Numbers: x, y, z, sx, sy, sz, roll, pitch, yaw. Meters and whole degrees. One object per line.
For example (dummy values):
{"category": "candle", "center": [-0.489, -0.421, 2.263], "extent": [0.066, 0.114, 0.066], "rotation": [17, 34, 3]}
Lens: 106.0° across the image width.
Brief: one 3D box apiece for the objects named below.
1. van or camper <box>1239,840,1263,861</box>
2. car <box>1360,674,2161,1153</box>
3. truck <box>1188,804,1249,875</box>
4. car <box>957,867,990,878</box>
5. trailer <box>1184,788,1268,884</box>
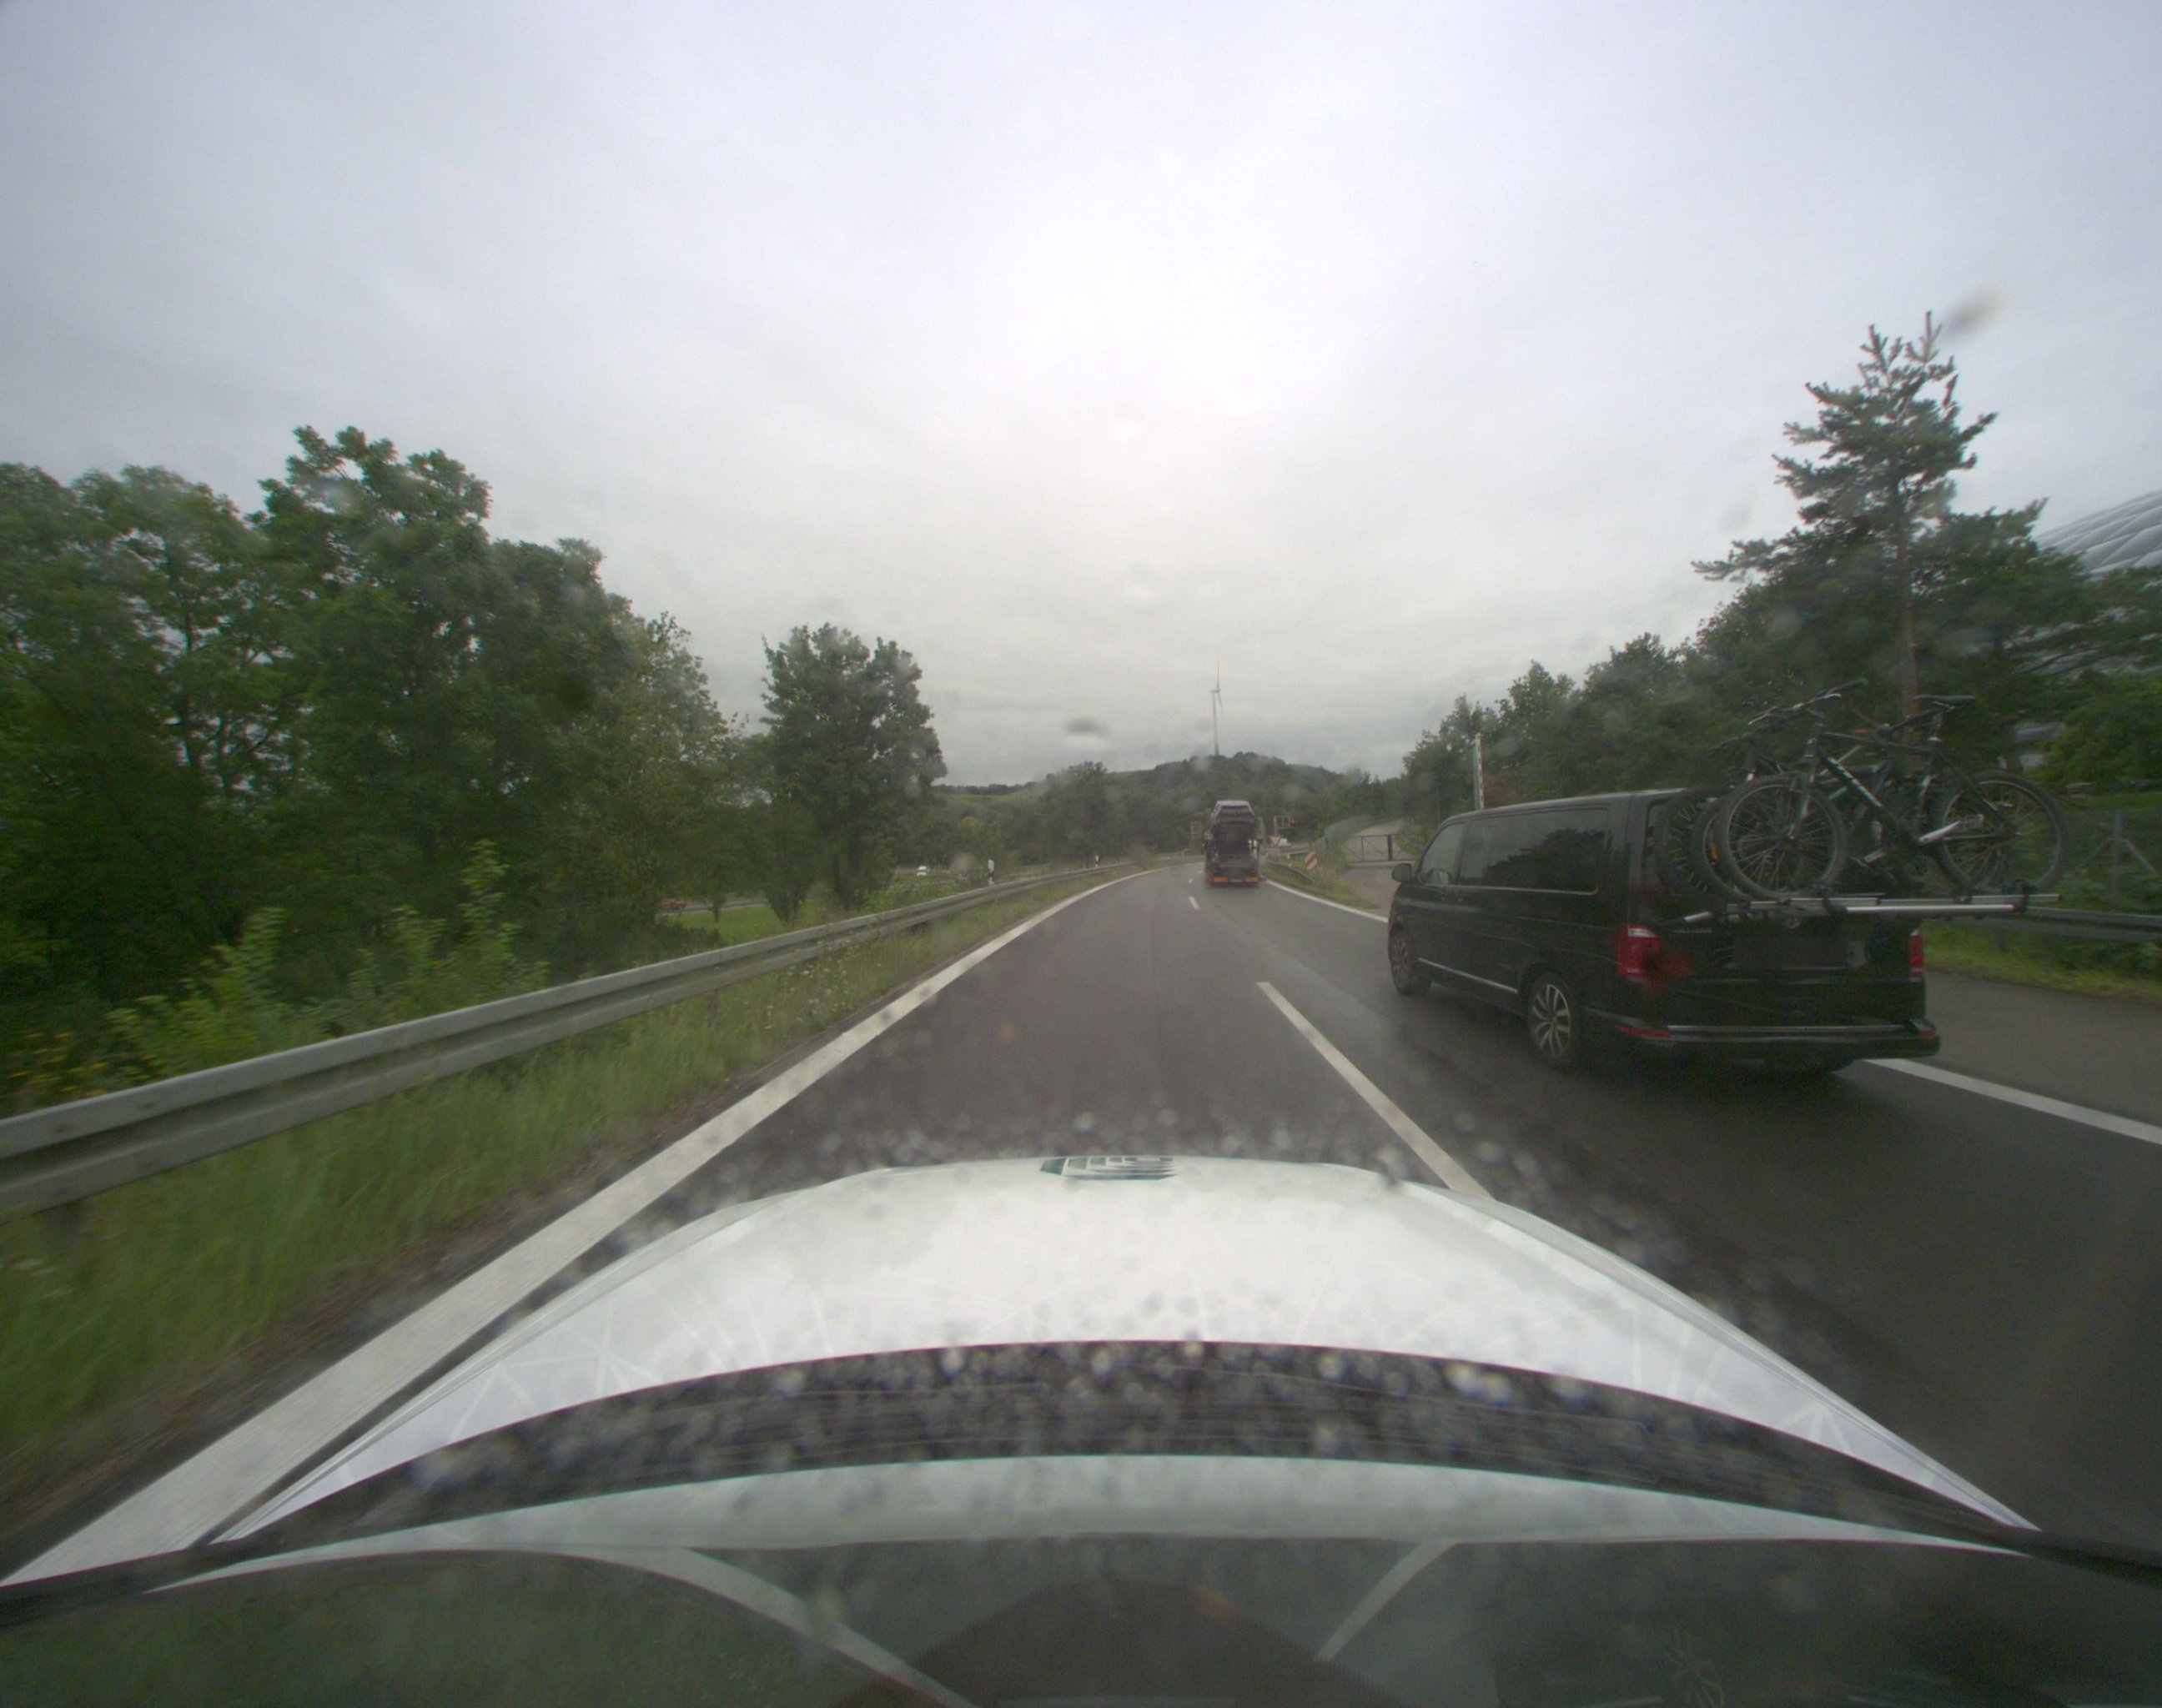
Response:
{"category": "van or camper", "center": [18.625, -0.388, 89.091], "extent": [2.076, 2.231, 4.451], "rotation": [0, 0, 17]}
{"category": "car", "center": [4.246, 0.260, 6.841], "extent": [2.101, 2.264, 5.901], "rotation": [0, 0, 3]}
{"category": "truck", "center": [8.511, -0.817, 51.328], "extent": [3.375, 3.999, 10.871], "rotation": [0, 0, 8]}
{"category": "car", "center": [-18.071, 3.074, 137.443], "extent": [5.354, 1.717, 1.975], "rotation": [-1, -1, -44]}
{"category": "trailer", "center": [6.882, -0.766, 39.900], "extent": [3.429, 3.999, 12.054], "rotation": [0, 0, 8]}
